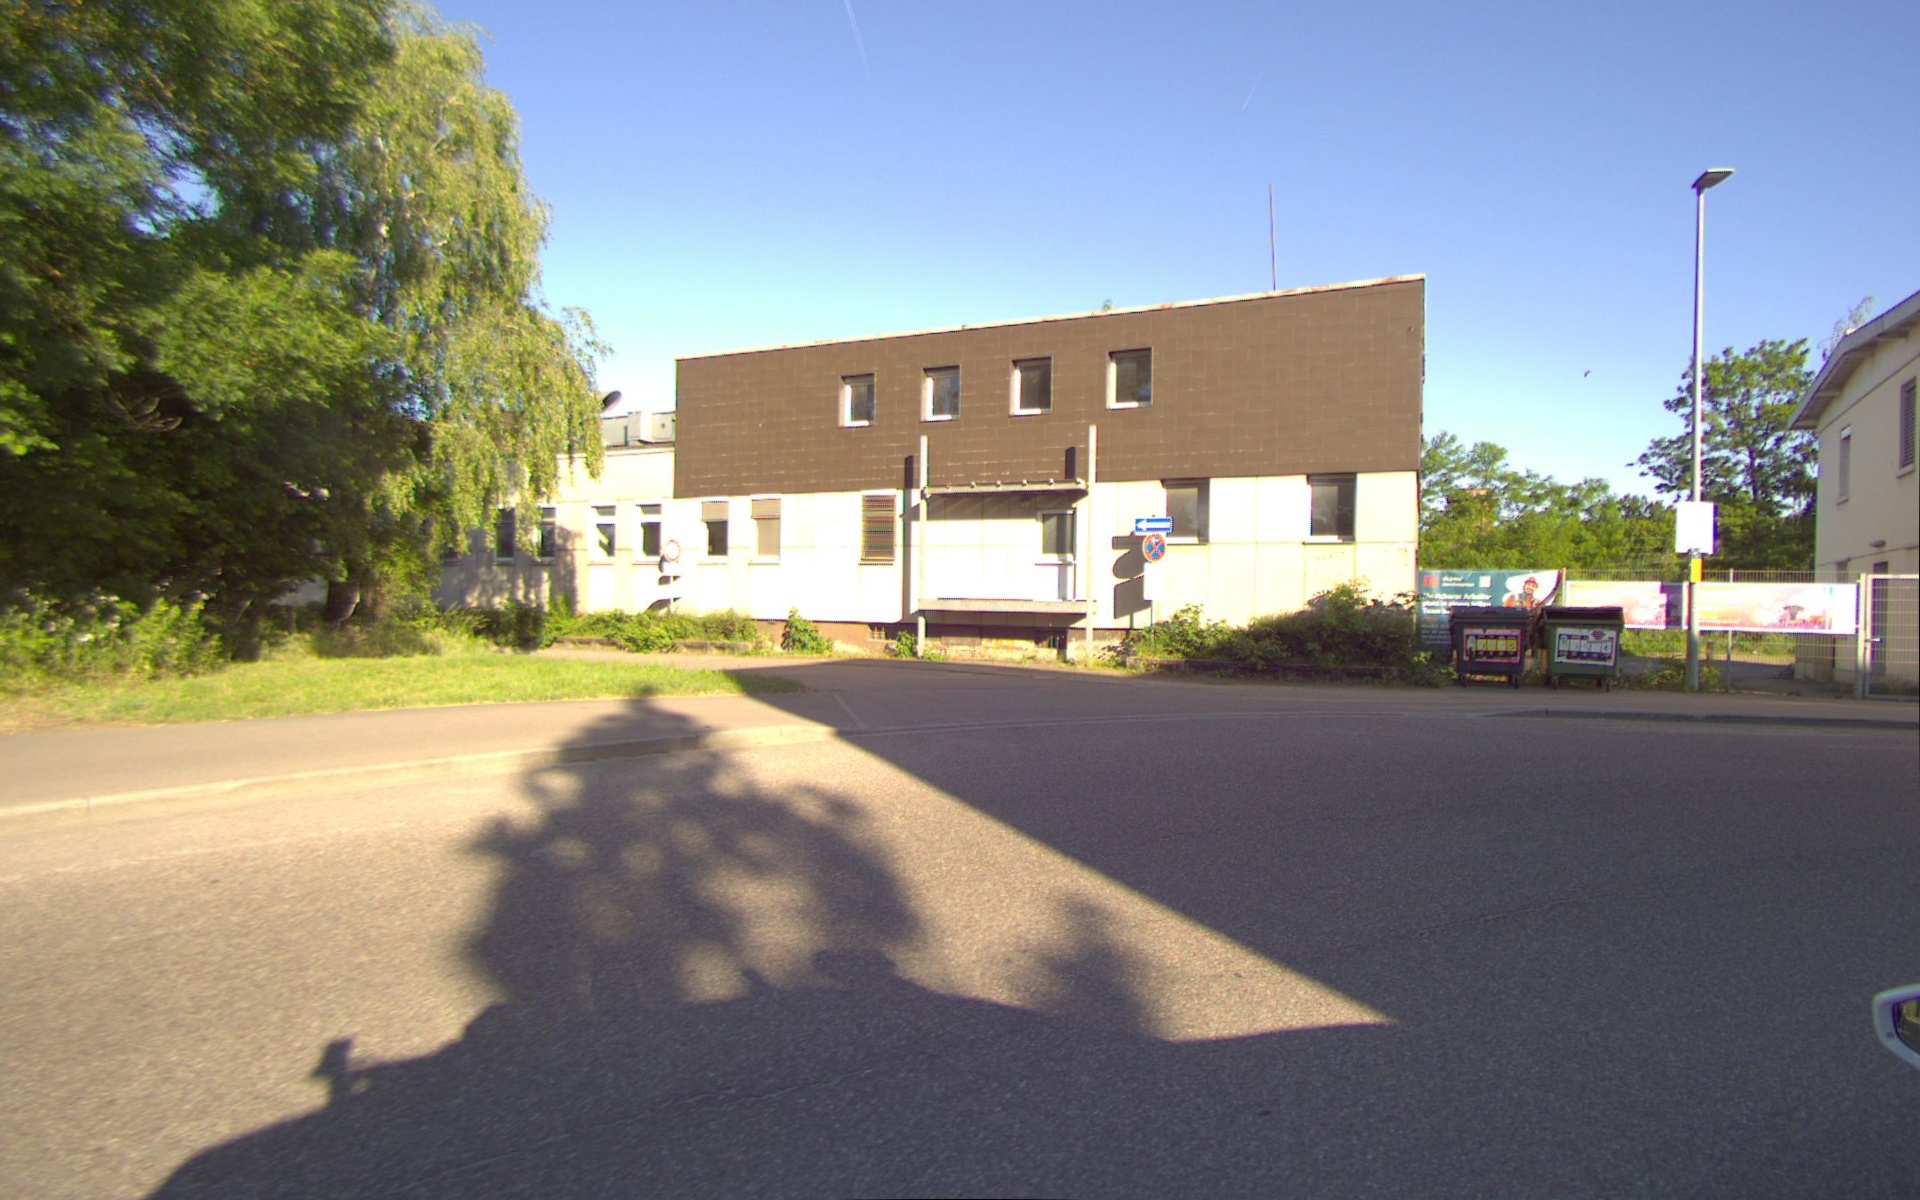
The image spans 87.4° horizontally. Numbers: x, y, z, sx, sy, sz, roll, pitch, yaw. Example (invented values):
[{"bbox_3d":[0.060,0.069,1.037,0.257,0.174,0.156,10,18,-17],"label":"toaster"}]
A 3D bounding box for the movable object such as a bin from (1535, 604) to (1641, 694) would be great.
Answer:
[{"bbox_3d":[11.066,0.832,17.775,1.346,1.491,1.202,1,0,20],"label":"movable object such as a bin"}]

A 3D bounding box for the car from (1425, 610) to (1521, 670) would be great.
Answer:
[{"bbox_3d":[15.394,1.150,30.357,1.960,1.639,4.001,1,0,18],"label":"car"}]

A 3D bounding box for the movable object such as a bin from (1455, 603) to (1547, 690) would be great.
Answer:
[{"bbox_3d":[9.792,0.809,18.245,1.264,1.491,1.364,1,0,20],"label":"movable object such as a bin"}]
